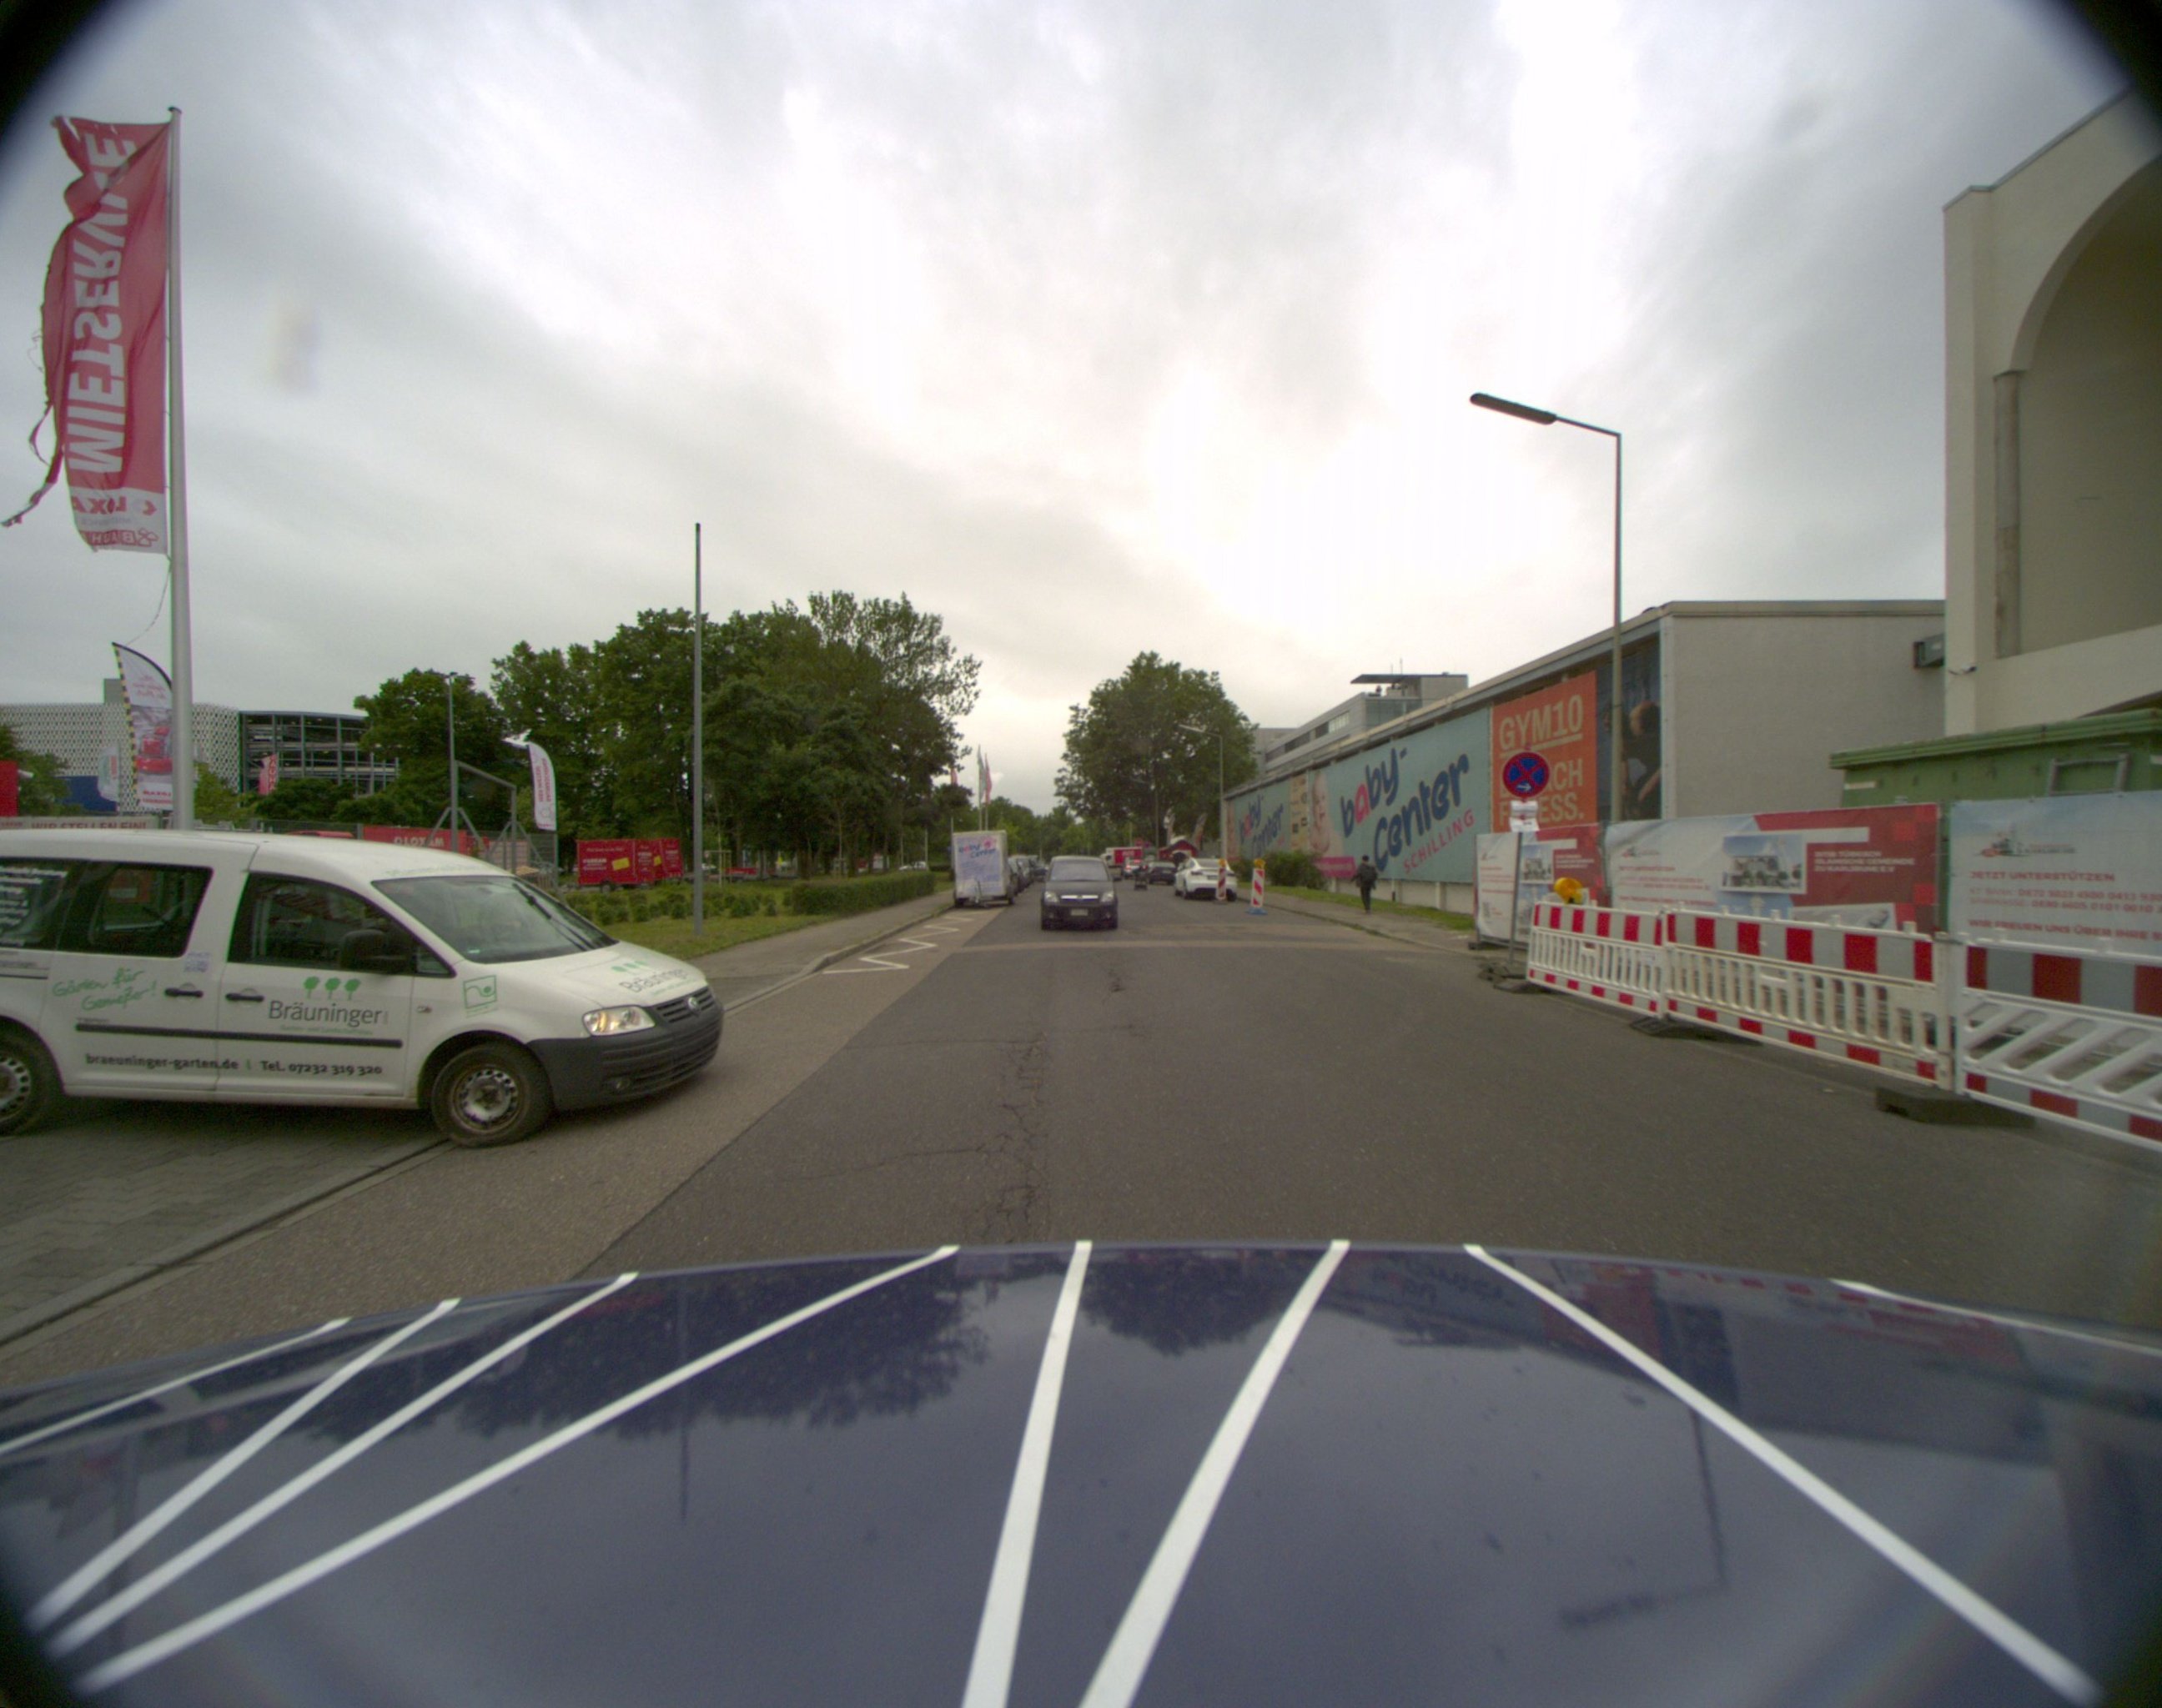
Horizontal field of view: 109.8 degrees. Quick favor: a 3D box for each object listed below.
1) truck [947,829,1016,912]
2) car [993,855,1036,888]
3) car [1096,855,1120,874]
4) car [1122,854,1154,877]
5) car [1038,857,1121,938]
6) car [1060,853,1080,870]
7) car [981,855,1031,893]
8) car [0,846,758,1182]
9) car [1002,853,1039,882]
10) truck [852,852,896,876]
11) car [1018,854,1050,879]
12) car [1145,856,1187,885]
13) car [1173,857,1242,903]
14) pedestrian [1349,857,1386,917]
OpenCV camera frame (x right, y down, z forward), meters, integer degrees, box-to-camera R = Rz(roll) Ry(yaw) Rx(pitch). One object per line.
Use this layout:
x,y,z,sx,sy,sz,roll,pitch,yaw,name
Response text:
-3.407,0.530,26.771,1.853,2.597,3.999,-4,0,-2,truck
-3.673,0.927,42.738,1.998,1.739,4.000,-1,0,1,car
2.267,0.864,64.961,1.929,1.565,4.000,0,0,0,car
4.203,0.861,56.518,1.929,1.565,4.149,2,0,0,car
-0.008,0.884,17.345,1.685,1.622,3.759,-1,0,1,car
-1.113,0.732,79.156,1.998,1.739,4.000,-1,0,0,car
-3.612,0.931,37.283,1.998,1.718,4.000,-1,0,1,car
-4.783,0.913,5.134,4.381,1.797,1.800,2,0,-3,car
-3.808,0.825,48.646,1.998,1.805,4.000,-1,0,1,car
-21.368,0.979,78.509,1.994,2.382,4.008,0,0,39,truck
-3.450,0.876,56.261,1.998,1.739,4.000,-1,0,1,car
5.054,0.962,45.709,1.929,1.565,4.149,2,0,0,car
4.835,0.952,29.617,1.929,1.565,4.149,2,0,0,car
7.766,0.884,20.616,0.793,1.570,0.602,-2,1,6,pedestrian
